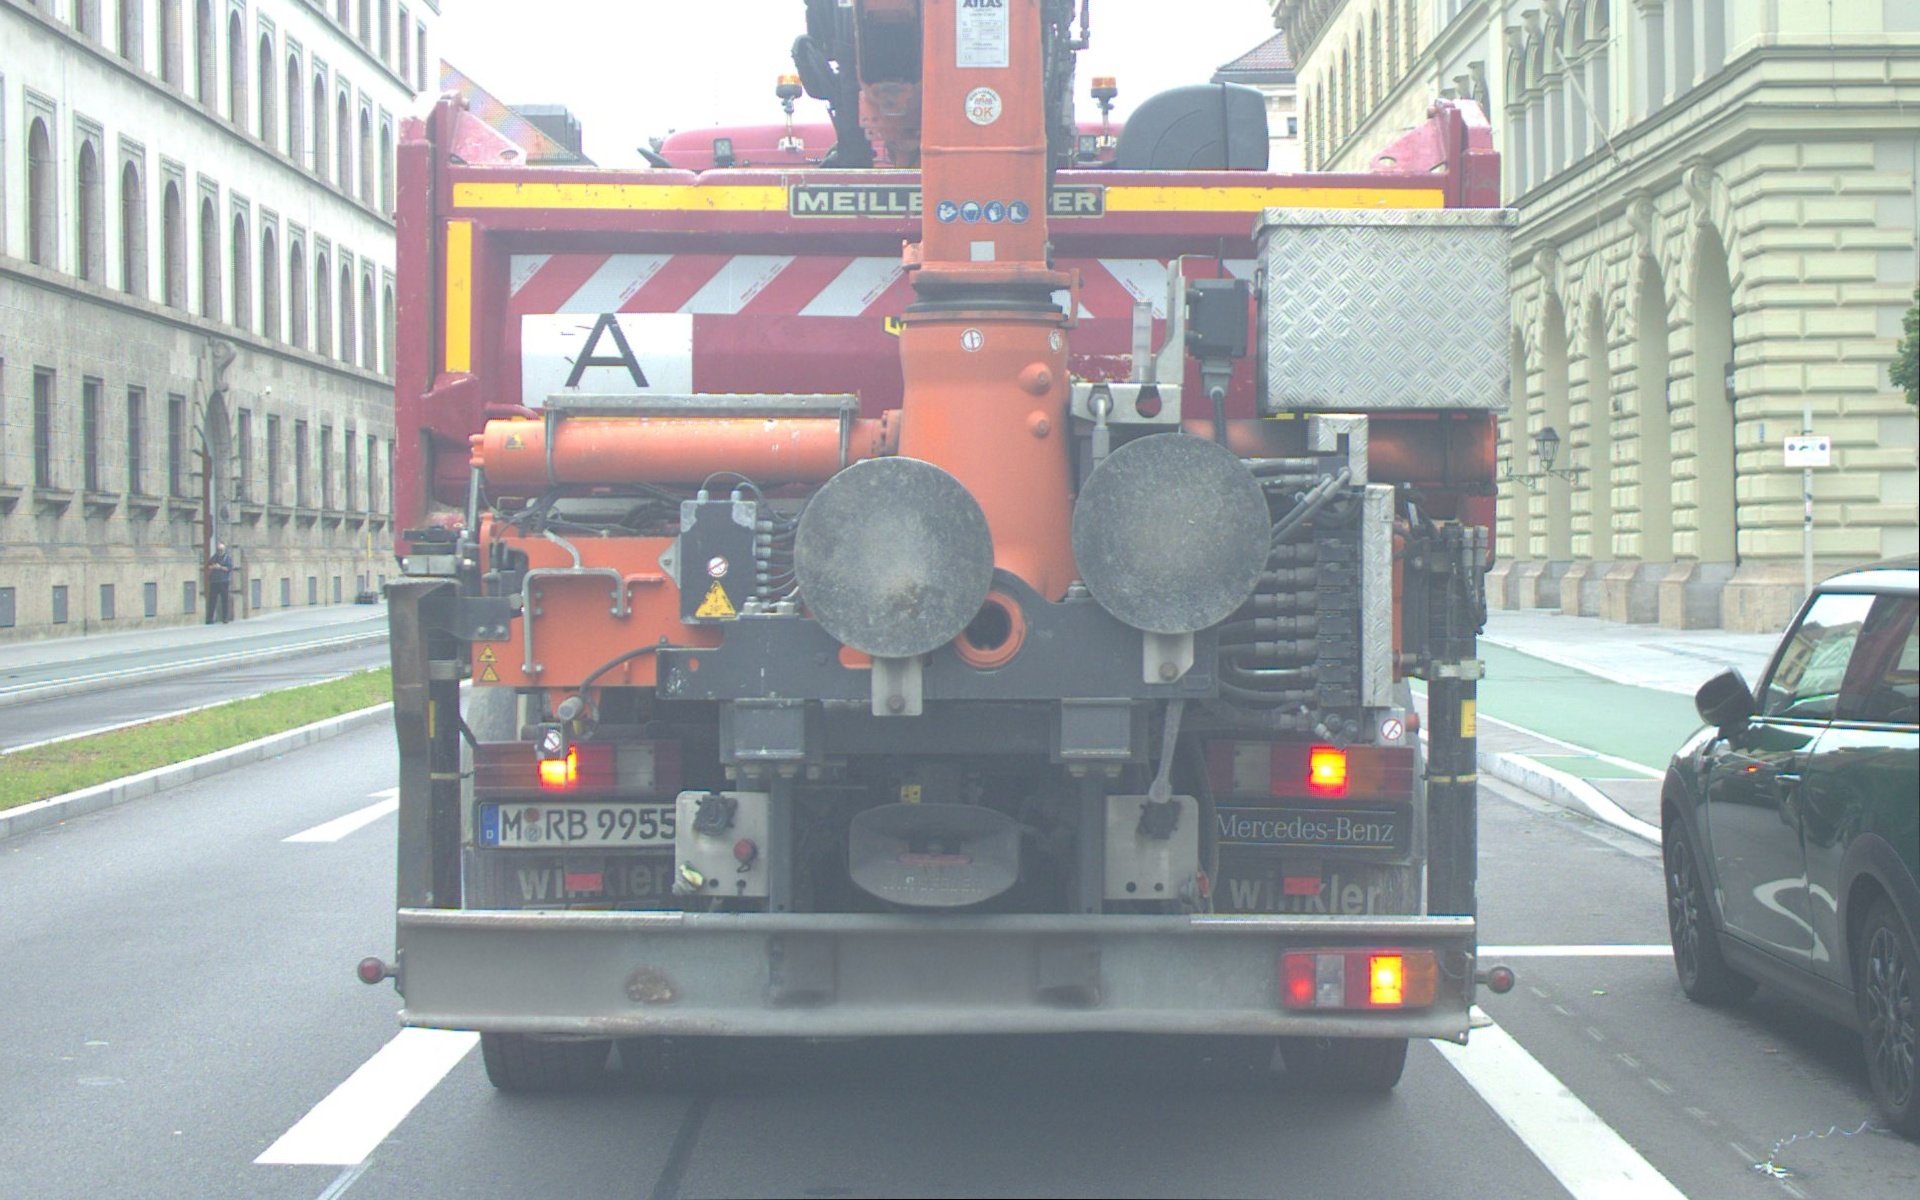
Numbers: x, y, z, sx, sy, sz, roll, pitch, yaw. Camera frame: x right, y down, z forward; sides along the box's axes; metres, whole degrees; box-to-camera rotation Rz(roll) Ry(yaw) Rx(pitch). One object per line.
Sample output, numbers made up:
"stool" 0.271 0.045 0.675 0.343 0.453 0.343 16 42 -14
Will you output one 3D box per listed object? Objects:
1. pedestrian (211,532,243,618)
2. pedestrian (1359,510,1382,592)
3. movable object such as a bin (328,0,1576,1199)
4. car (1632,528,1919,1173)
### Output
"pedestrian" -15.744 -0.542 73.830 0.588 1.825 0.499 0 1 -1
"pedestrian" 9.301 -1.115 77.977 0.445 1.830 0.556 -1 1 1
"movable object such as a bin" -0.061 -0.467 9.617 2.423 3.599 5.852 0 1 -1
"car" 3.030 0.544 9.624 1.610 1.490 3.424 -1 1 0
